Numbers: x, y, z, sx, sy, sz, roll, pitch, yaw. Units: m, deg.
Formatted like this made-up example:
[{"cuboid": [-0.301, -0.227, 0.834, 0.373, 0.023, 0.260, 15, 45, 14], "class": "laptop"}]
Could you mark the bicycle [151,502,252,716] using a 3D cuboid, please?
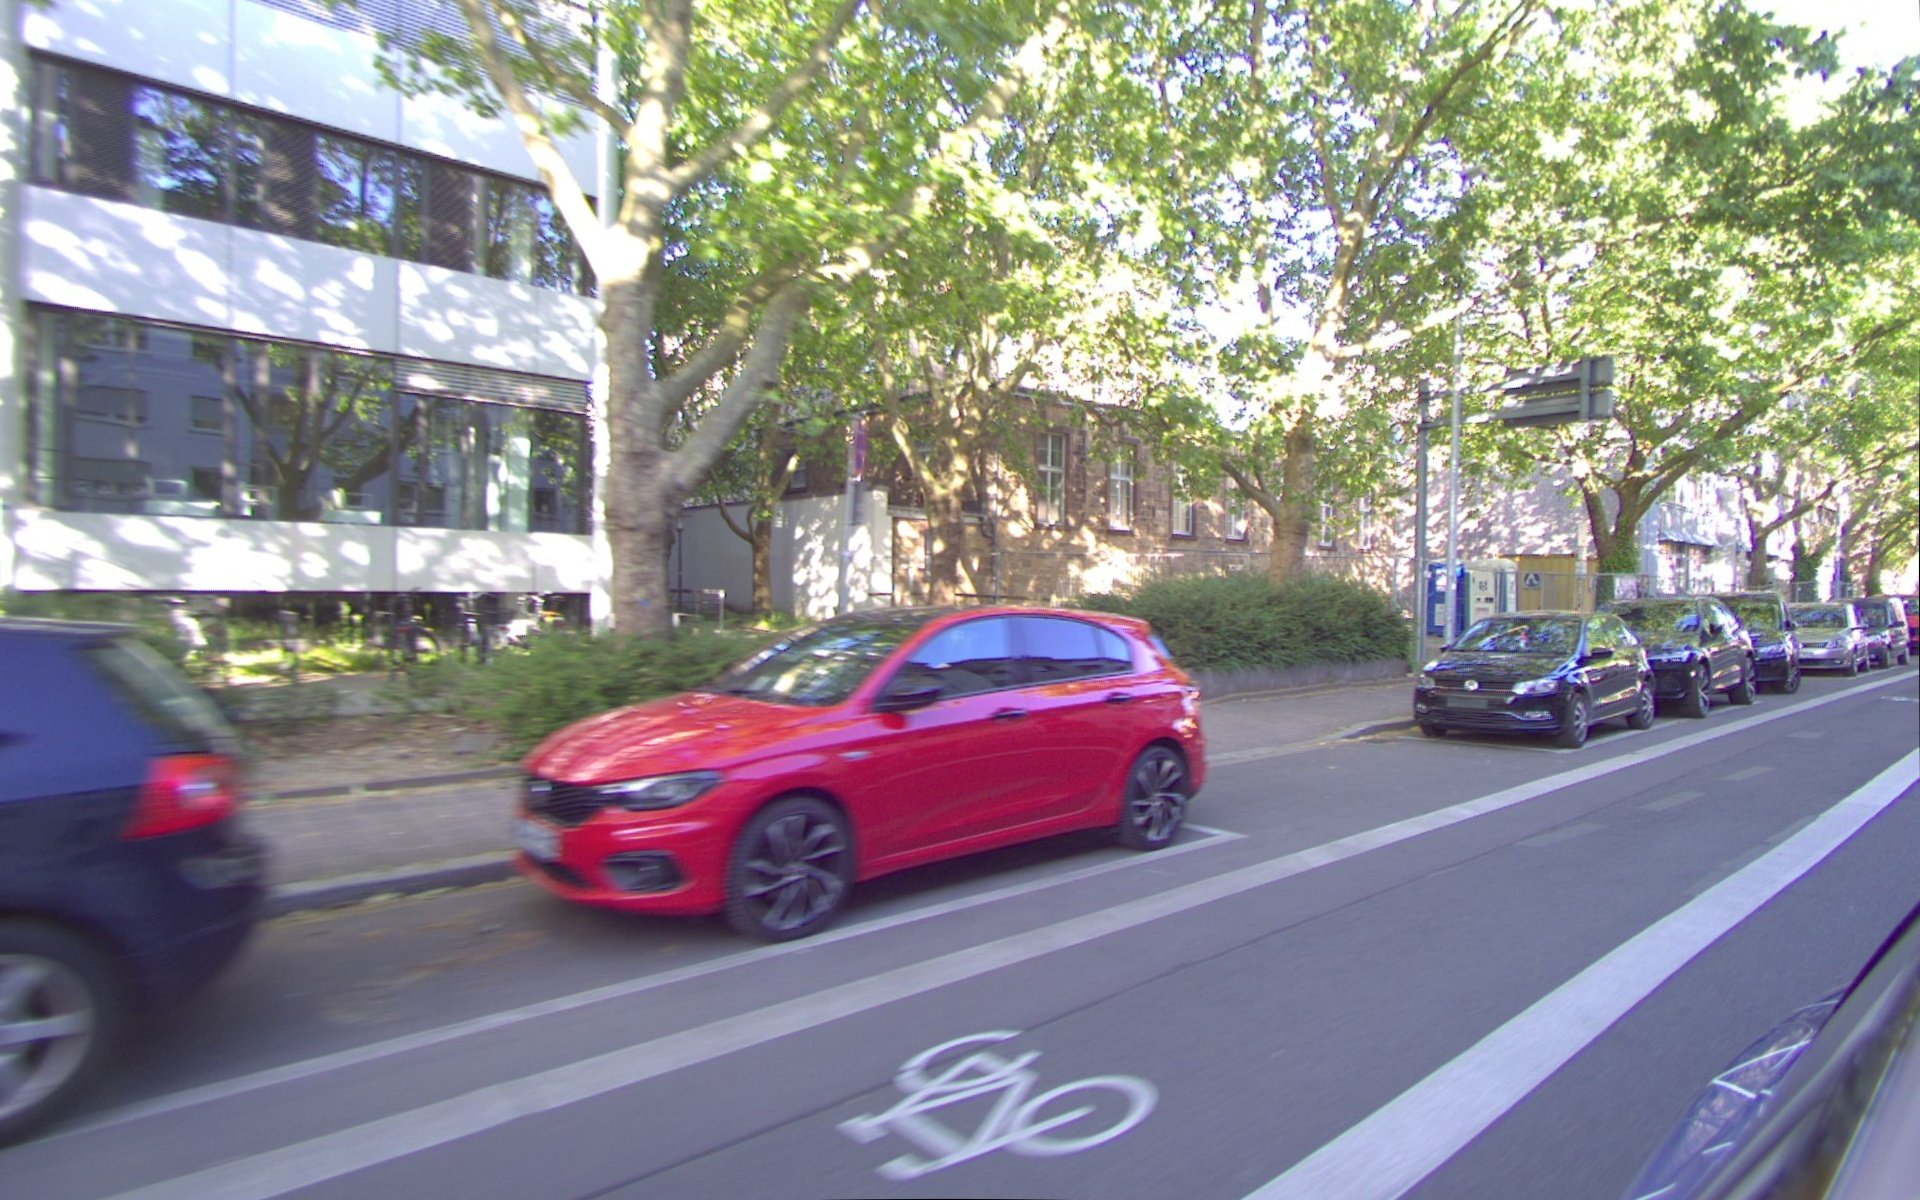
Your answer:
[{"cuboid": [-8.220, 0.060, 10.918, 0.729, 2.039, 2.603, 1, 1, -40], "class": "bicycle"}]

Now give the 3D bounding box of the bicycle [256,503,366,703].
[{"cuboid": [-7.463, 0.007, 11.569, 0.729, 2.039, 2.603, 1, 1, -40], "class": "bicycle"}]

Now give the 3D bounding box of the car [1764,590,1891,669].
[{"cuboid": [19.973, 0.637, 23.240, 4.256, 1.648, 1.694, 0, -1, -43], "class": "car"}]

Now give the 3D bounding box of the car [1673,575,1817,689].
[{"cuboid": [14.819, 0.539, 18.999, 1.823, 1.865, 4.826, -2, -1, 41], "class": "car"}]

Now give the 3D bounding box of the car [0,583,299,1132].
[{"cuboid": [-4.150, 0.715, 2.574, 3.992, 1.485, 1.696, 0, -1, -39], "class": "car"}]

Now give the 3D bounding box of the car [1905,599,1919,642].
[{"cuboid": [35.417, 0.721, 36.328, 3.691, 1.504, 1.641, 0, -2, -39], "class": "car"}]

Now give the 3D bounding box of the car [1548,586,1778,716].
[{"cuboid": [10.502, 0.658, 14.976, 4.541, 1.648, 1.778, 0, -1, -42], "class": "car"}]

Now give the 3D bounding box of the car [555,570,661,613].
[{"cuboid": [-15.017, -0.343, 43.232, 3.883, 1.742, 1.823, -1, 0, -41], "class": "car"}]

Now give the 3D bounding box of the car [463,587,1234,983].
[{"cuboid": [-0.378, 0.716, 5.881, 4.242, 1.498, 1.696, 0, -1, -40], "class": "car"}]

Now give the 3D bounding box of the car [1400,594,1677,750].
[{"cuboid": [6.878, 0.721, 11.867, 3.952, 1.523, 1.694, 0, -1, -43], "class": "car"}]

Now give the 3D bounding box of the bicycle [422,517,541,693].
[{"cuboid": [-6.161, 0.031, 12.936, 0.729, 2.039, 2.603, 1, 1, -40], "class": "bicycle"}]

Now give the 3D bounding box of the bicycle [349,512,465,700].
[{"cuboid": [-6.727, 0.042, 12.232, 0.729, 2.039, 2.603, 1, 1, -40], "class": "bicycle"}]

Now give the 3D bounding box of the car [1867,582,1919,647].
[{"cuboid": [31.754, 0.461, 33.472, 5.083, 2.019, 2.080, 0, -1, -42], "class": "car"}]

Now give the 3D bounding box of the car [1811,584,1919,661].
[{"cuboid": [23.470, 0.541, 26.008, 4.055, 1.836, 1.696, 0, -1, -39], "class": "car"}]

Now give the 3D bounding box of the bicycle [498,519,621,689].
[{"cuboid": [-5.339, 0.026, 13.374, 0.729, 2.039, 2.603, 1, 1, -40], "class": "bicycle"}]
